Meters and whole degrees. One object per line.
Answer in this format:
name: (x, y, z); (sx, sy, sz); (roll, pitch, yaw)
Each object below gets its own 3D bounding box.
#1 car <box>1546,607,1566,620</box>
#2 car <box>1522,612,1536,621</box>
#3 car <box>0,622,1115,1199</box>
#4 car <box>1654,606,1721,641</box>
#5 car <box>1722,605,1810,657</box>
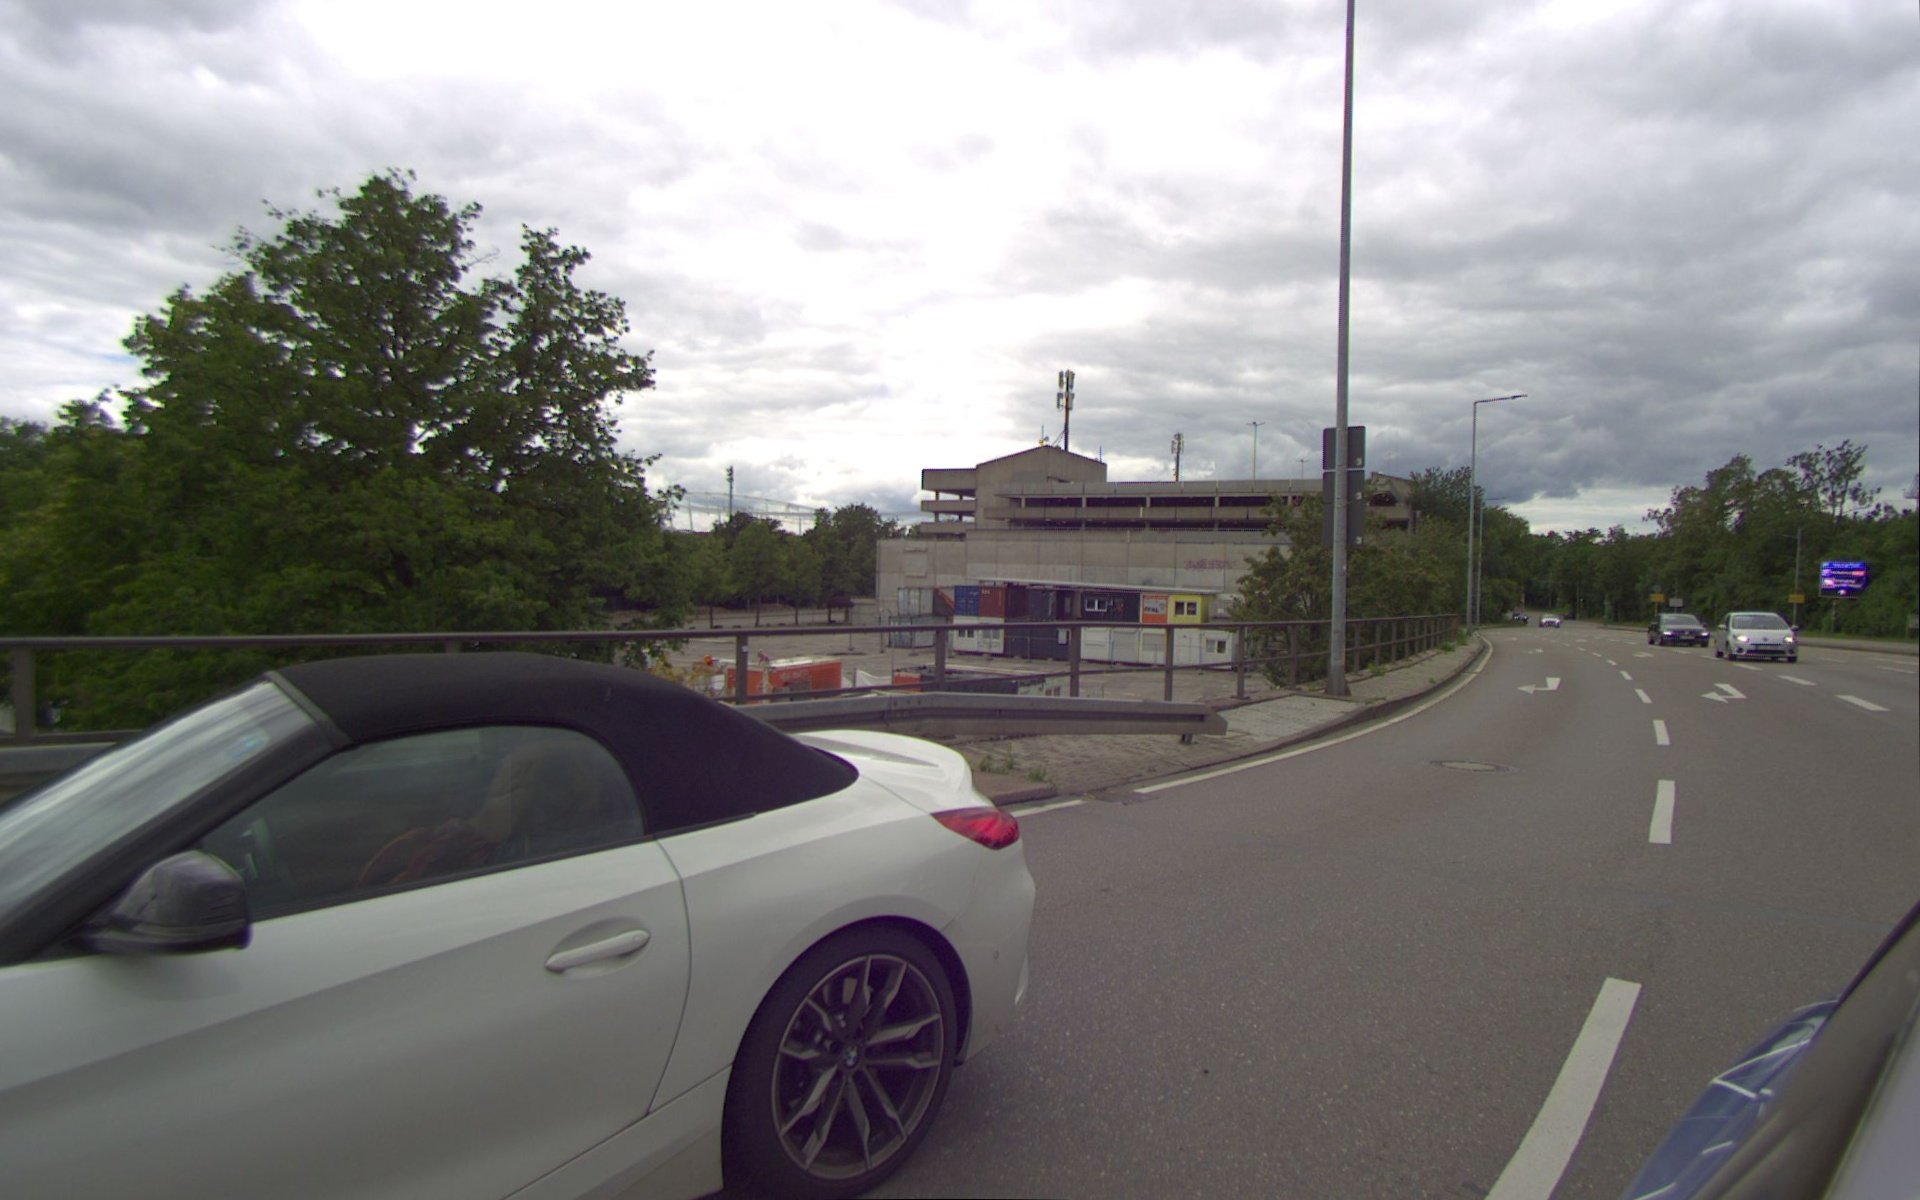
car: (66.109, 1.458, 112.333); (1.850, 1.434, 4.293); (1, 0, 29)
car: (88.282, 2.545, 156.953); (1.849, 1.434, 4.294); (1, 0, 29)
car: (-1.726, 0.753, 2.390); (4.186, 1.308, 1.809); (0, 0, -39)
car: (32.036, 0.982, 44.690); (1.849, 1.434, 4.295); (1, 0, 28)
car: (24.212, 0.879, 30.492); (1.597, 1.434, 3.551); (1, 0, 31)
